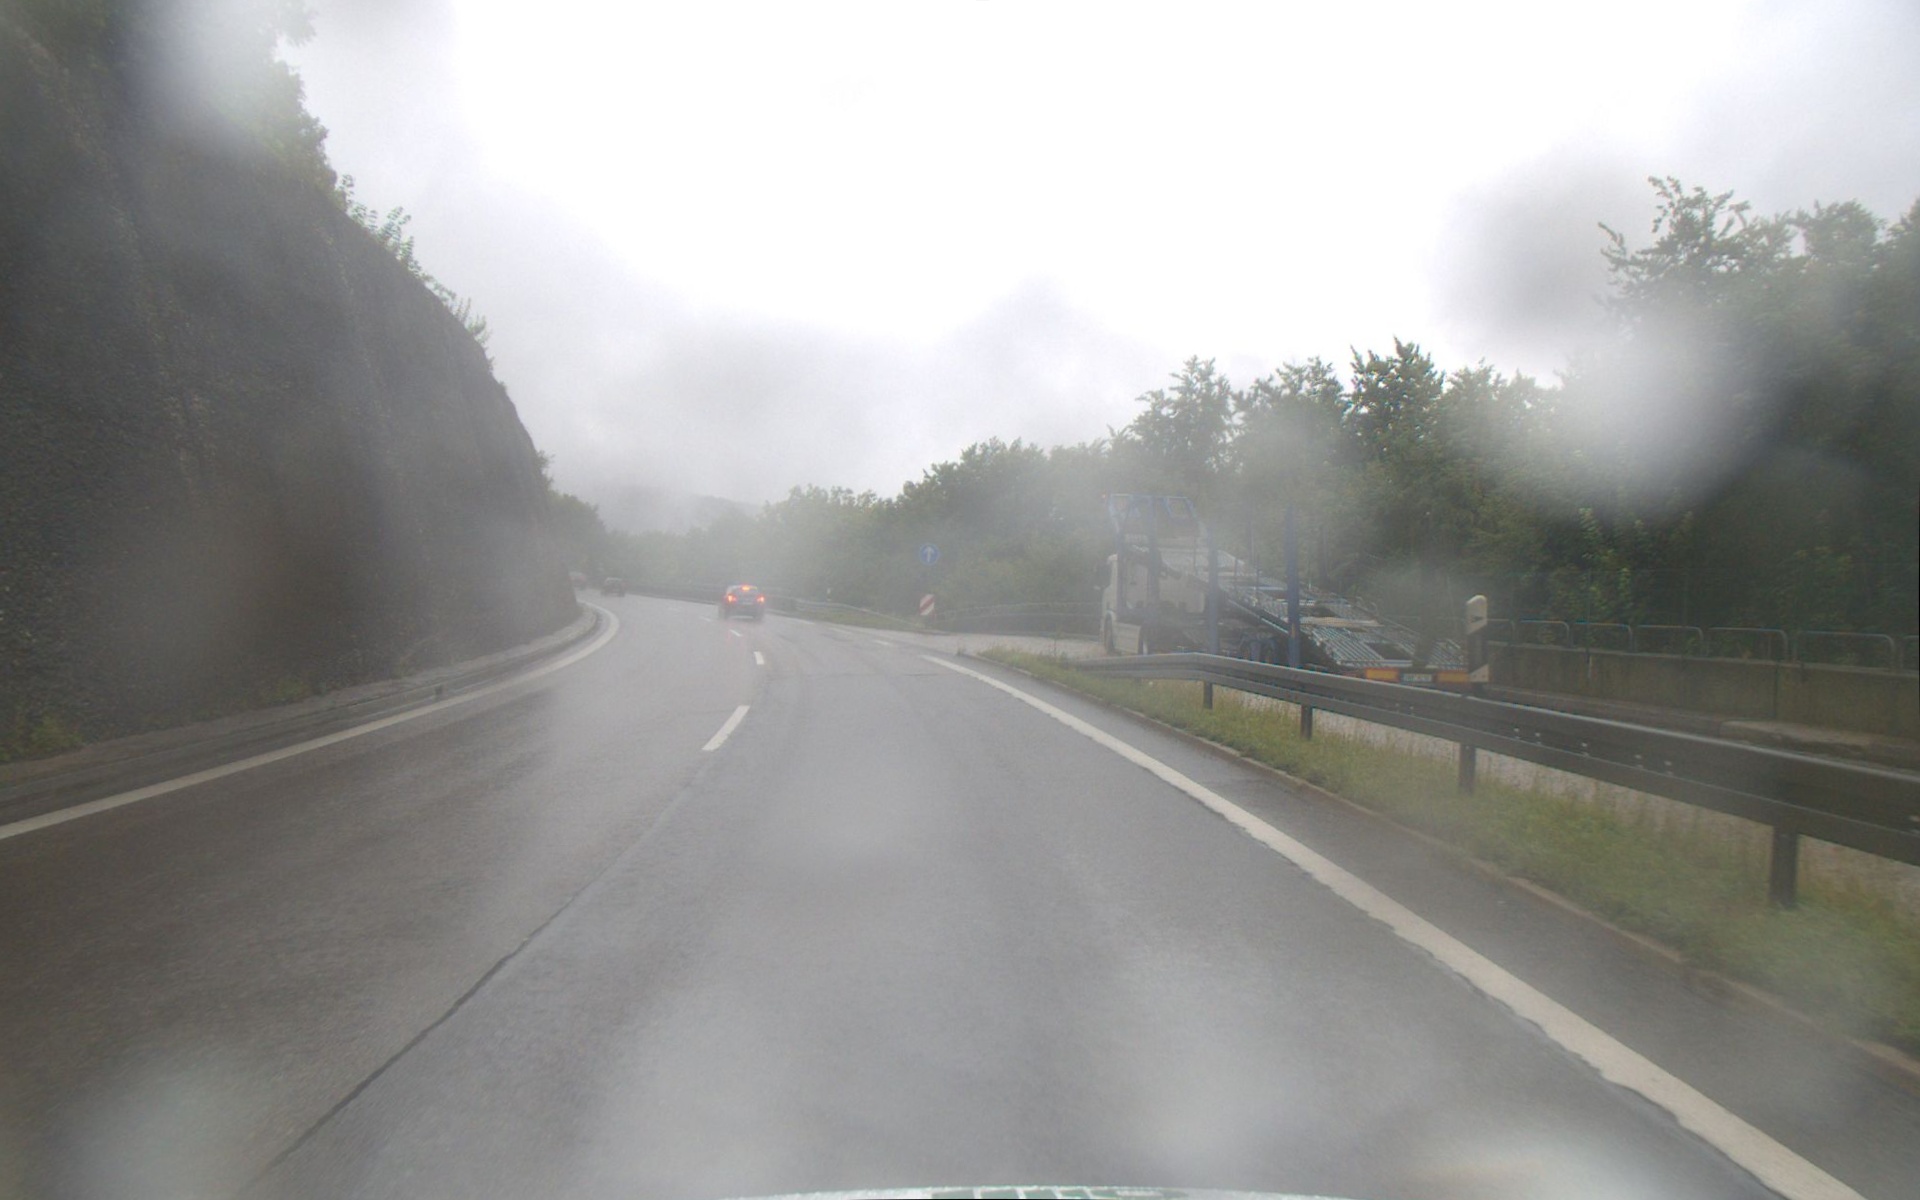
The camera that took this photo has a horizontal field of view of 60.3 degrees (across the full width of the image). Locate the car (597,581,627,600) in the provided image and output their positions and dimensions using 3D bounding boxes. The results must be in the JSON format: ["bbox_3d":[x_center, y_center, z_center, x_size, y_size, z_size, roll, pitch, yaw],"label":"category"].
[{"bbox_3d":[-29.839,-0.837,141.611,1.877,1.525,3.975,2,0,-21],"label":"car"}]

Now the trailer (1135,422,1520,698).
[{"bbox_3d":[6.586,-0.626,33.340,2.837,4.319,14.674,1,0,-7],"label":"trailer"}]

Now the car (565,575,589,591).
[{"bbox_3d":[-39.026,-1.759,168.359,1.875,1.525,3.977,2,0,-20],"label":"car"}]

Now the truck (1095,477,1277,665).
[{"bbox_3d":[5.529,-0.660,41.735,2.841,4.319,6.870,1,0,-7],"label":"truck"}]

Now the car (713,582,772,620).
[{"bbox_3d":[-9.723,0.029,73.724,1.874,1.525,3.980,2,0,-18],"label":"car"}]
